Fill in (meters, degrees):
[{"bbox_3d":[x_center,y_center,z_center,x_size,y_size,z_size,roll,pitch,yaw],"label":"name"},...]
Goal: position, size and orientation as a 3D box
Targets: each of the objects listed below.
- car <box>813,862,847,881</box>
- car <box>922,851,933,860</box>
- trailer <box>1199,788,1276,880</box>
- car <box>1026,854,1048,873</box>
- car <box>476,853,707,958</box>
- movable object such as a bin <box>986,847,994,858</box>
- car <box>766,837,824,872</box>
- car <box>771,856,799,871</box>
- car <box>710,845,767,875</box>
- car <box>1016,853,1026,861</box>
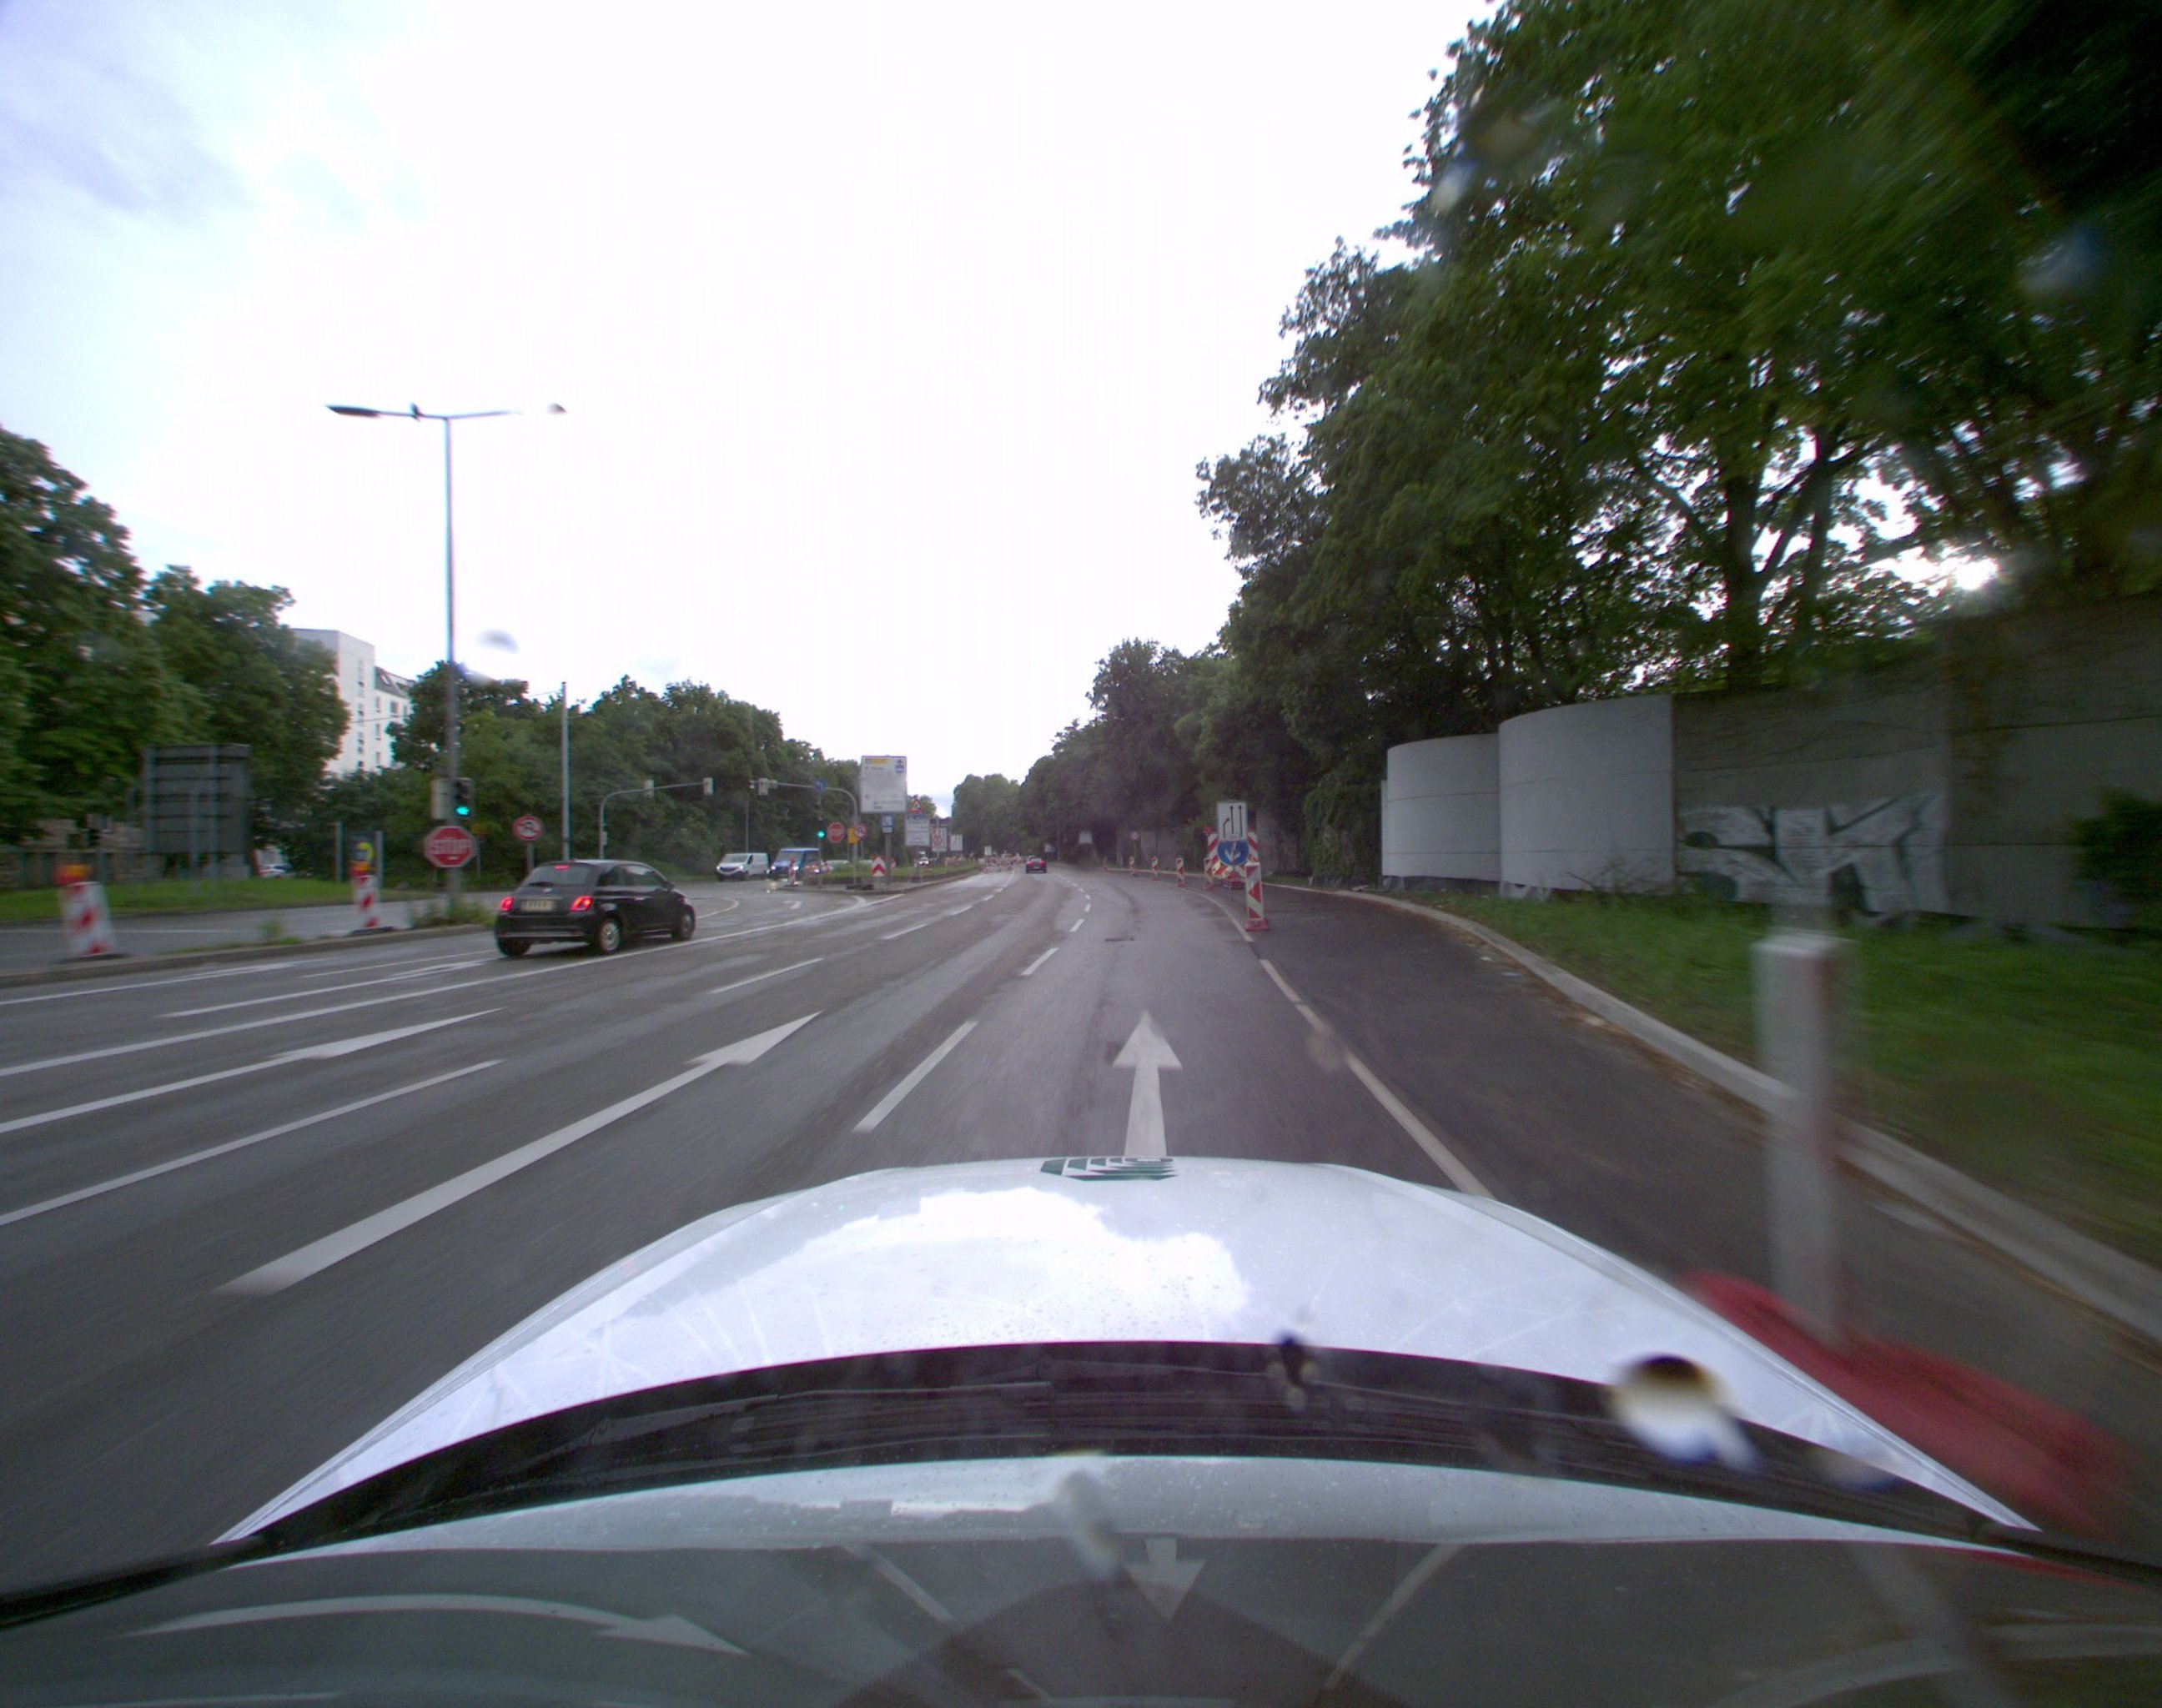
[{"bbox_3d":[-17.595,1.212,57.246,1.548,1.200,4.633,-1,0,-8],"label":"car"},{"bbox_3d":[-33.034,0.354,174.964,1.912,1.781,4.823,-1,1,-6],"label":"car"},{"bbox_3d":[6.667,-0.793,35.421,2.298,3.589,5.963,-2,0,2],"label":"trailer"},{"bbox_3d":[-3.893,0.865,72.787,1.857,1.491,3.998,0,2,-2],"label":"car"},{"bbox_3d":[-7.899,0.741,13.549,1.580,1.440,3.507,0,1,3],"label":"car"},{"bbox_3d":[-25.425,-0.445,227.321,1.748,2.867,3.520,-2,0,-12],"label":"movable object such as a bin"},{"bbox_3d":[-20.628,-0.015,58.998,2.190,2.390,6.239,0,1,-2],"label":"car"},{"bbox_3d":[-23.537,0.740,64.861,1.267,1.085,2.791,0,1,-2],"label":"car"},{"bbox_3d":[-23.898,0.360,57.097,2.029,1.974,4.986,0,1,-2],"label":"car"},{"bbox_3d":[-13.034,0.683,175.860,1.862,1.491,3.988,0,2,-10],"label":"car"}]
